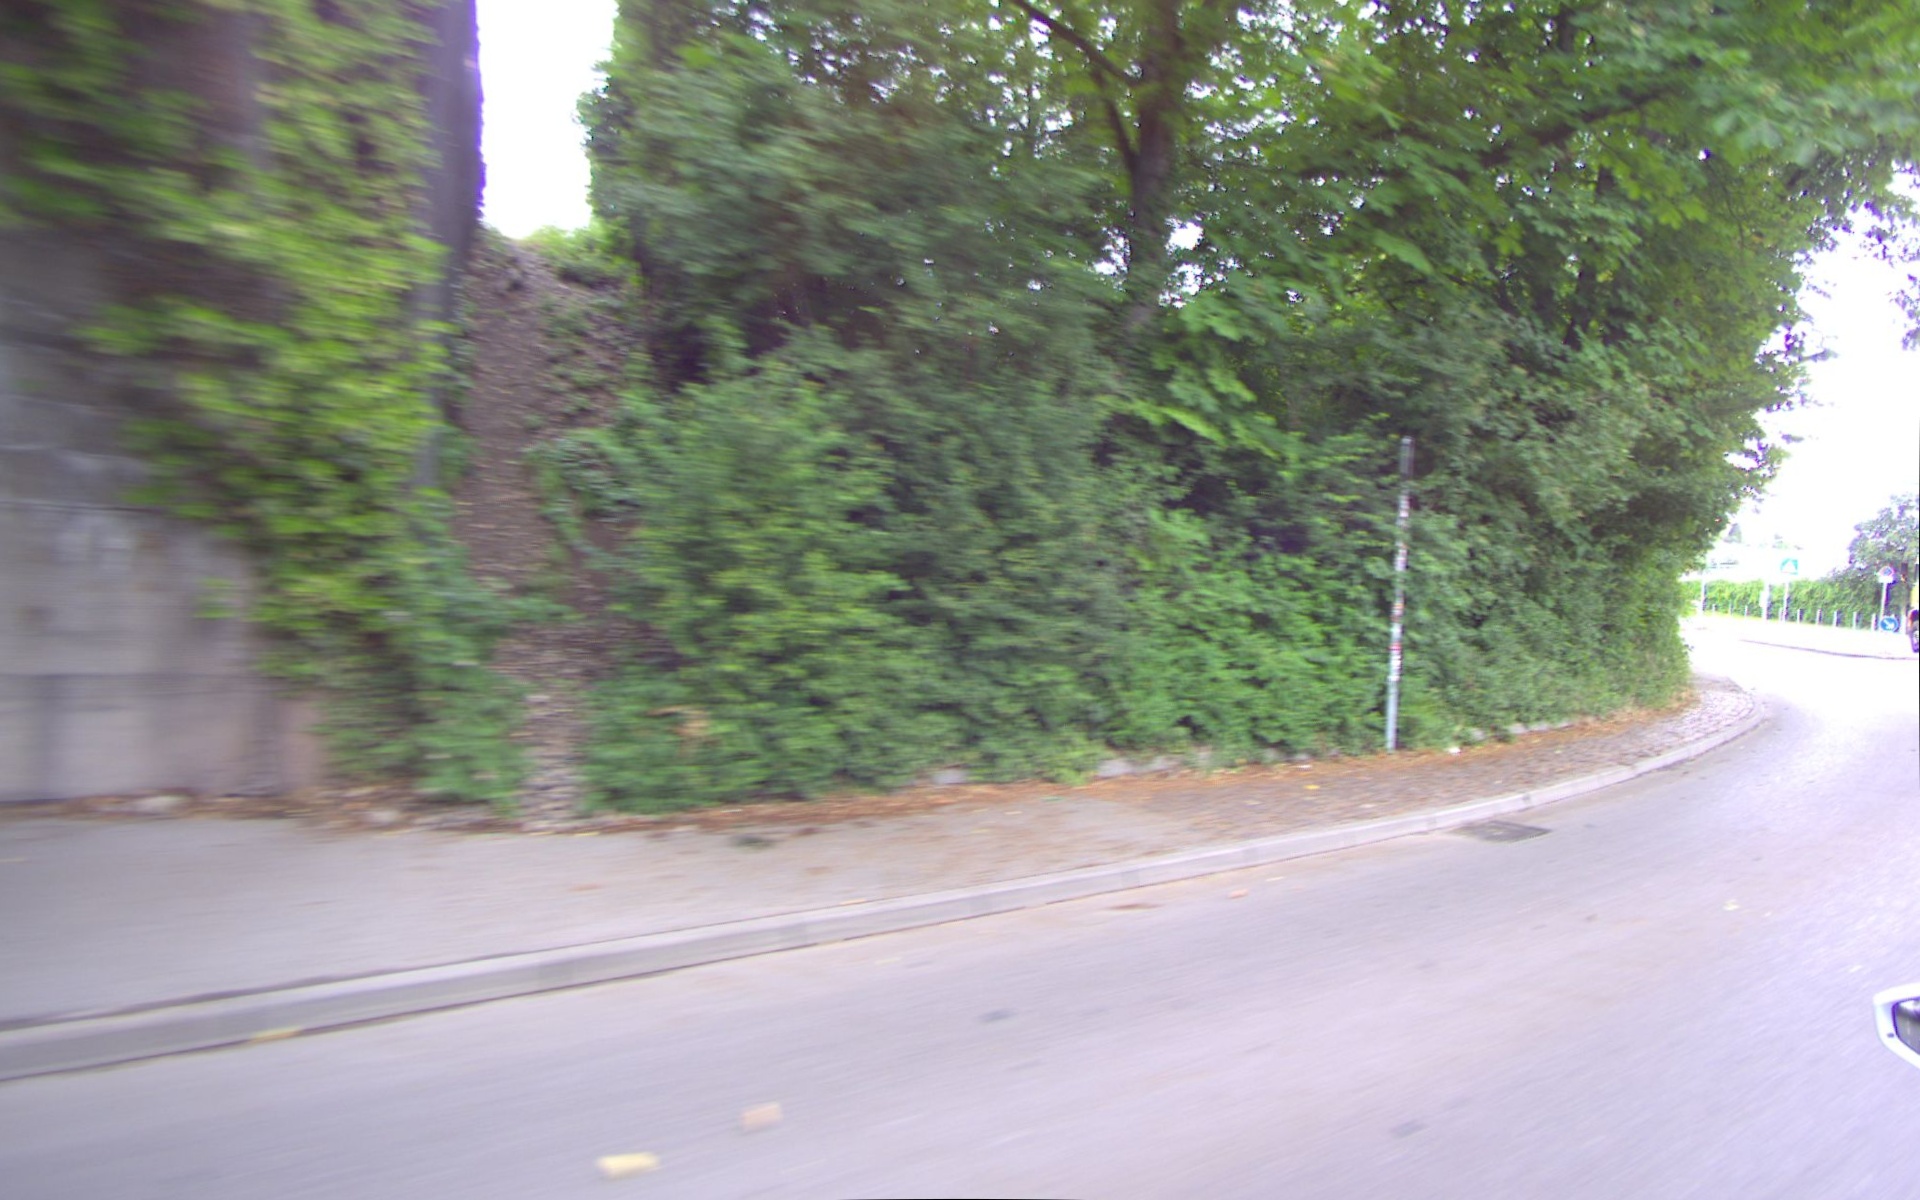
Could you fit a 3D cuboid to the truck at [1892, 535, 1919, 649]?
[{"bbox_3d":[30.478,-0.161,29.569,2.725,3.531,8.108,3,3,31],"label":"truck"}]
